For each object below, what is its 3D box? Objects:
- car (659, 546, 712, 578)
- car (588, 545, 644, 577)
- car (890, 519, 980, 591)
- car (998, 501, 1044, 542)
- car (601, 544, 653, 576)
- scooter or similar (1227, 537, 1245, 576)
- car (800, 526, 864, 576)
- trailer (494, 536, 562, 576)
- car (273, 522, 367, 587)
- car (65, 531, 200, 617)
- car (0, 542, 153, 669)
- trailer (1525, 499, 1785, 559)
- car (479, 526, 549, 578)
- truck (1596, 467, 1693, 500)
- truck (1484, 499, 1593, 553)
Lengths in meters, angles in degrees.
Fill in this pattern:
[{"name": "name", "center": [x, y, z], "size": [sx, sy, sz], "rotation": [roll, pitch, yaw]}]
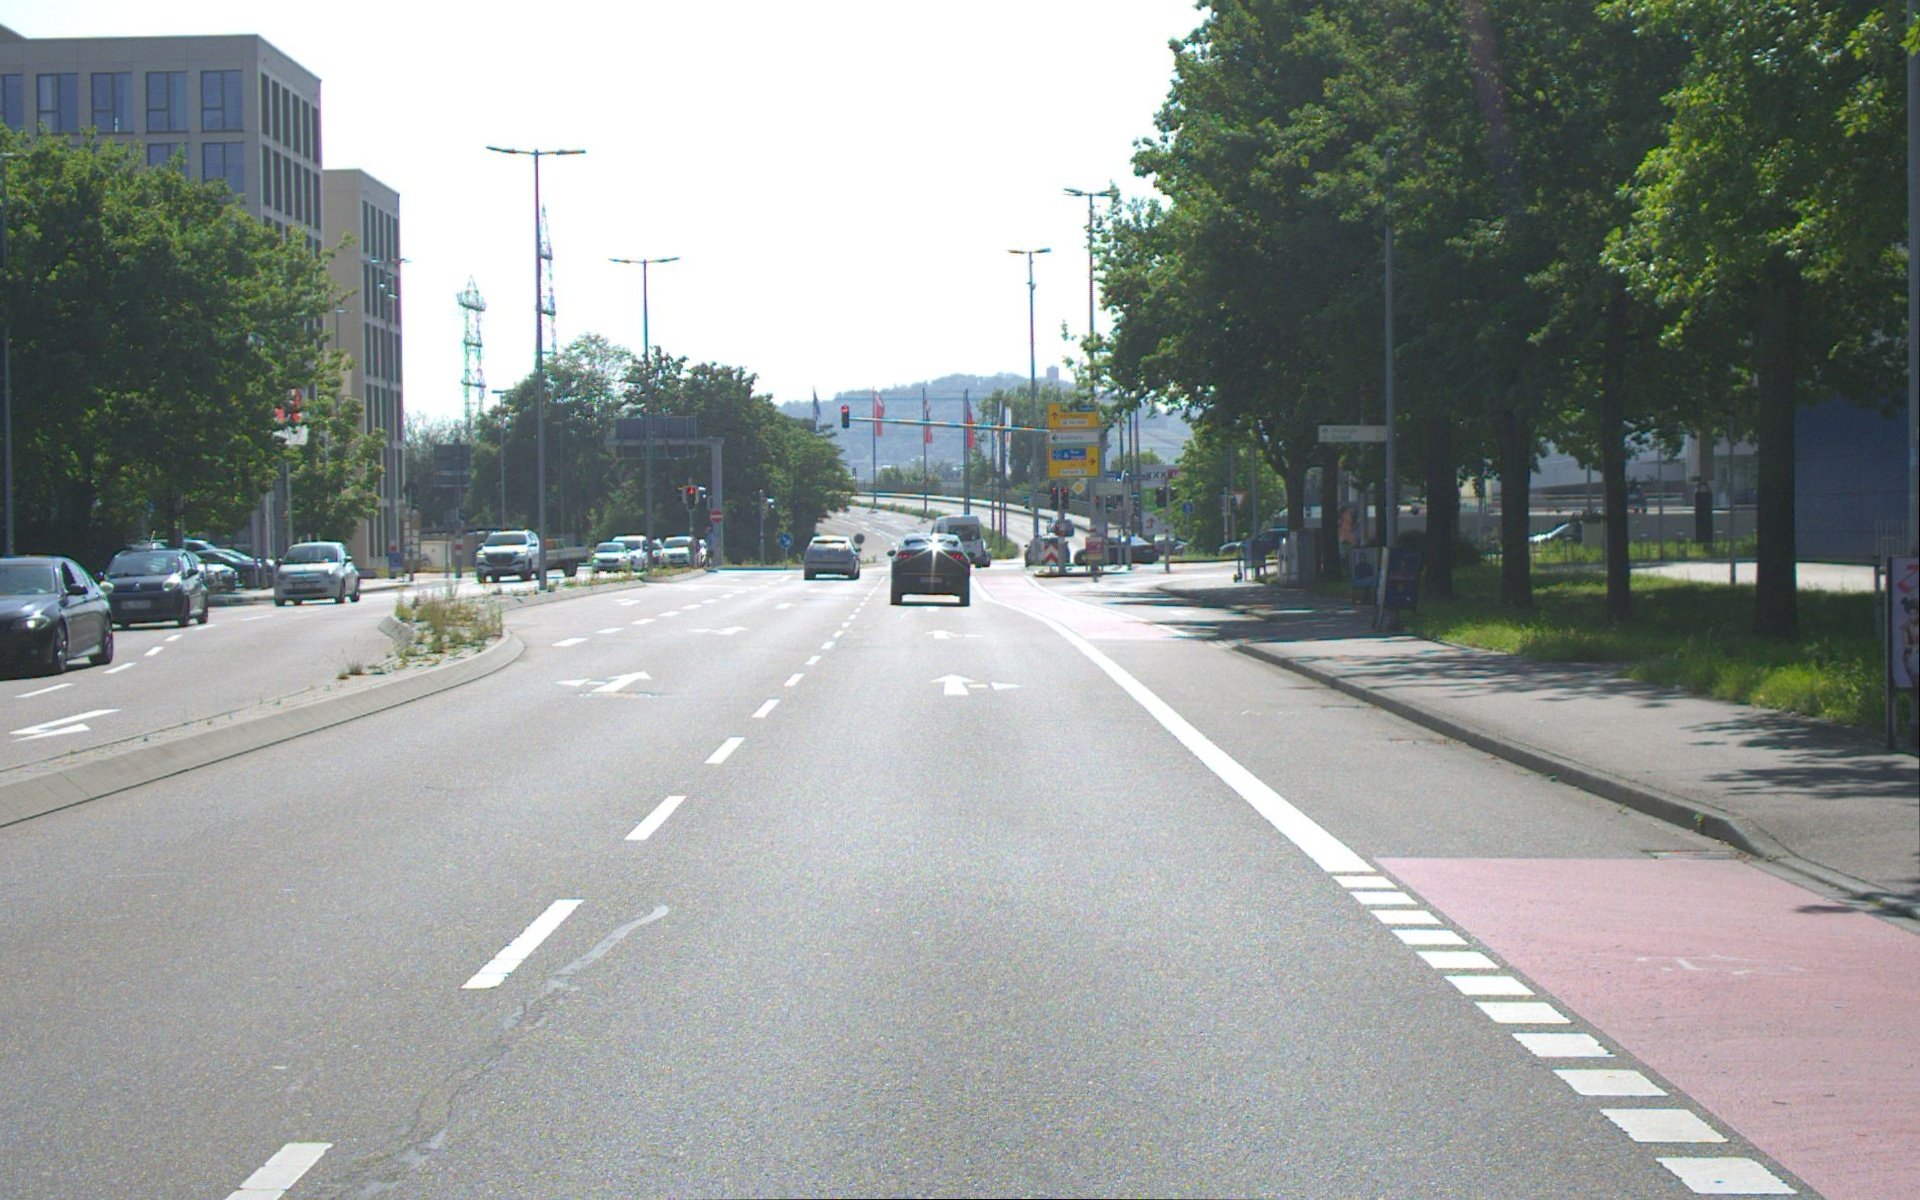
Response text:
[{"name": "car", "center": [-12.869, -1.792, 161.394], "size": [1.816, 1.459, 4.000], "rotation": [-1, 1, 5]}, {"name": "car", "center": [-16.034, -1.823, 160.388], "size": [1.892, 1.459, 4.000], "rotation": [-1, 1, 5]}, {"name": "car", "center": [-0.558, -1.081, 81.127], "size": [1.807, 1.634, 4.458], "rotation": [-1, 1, 3]}, {"name": "car", "center": [2.728, -3.548, 154.548], "size": [1.757, 1.752, 3.603], "rotation": [1, 2, -3]}, {"name": "car", "center": [-16.250, -1.959, 167.740], "size": [1.816, 1.459, 4.000], "rotation": [-1, 1, 5]}, {"name": "scooter or similar", "center": [8.760, -1.392, 109.105], "size": [0.351, 1.229, 1.310], "rotation": [-1, 1, 14]}, {"name": "car", "center": [-4.427, -1.726, 119.531], "size": [1.993, 1.678, 4.000], "rotation": [-1, 1, 1]}, {"name": "trailer", "center": [-16.303, -1.677, 129.843], "size": [1.993, 1.448, 5.773], "rotation": [-1, 1, -2]}, {"name": "car", "center": [-15.341, -1.101, 82.541], "size": [1.653, 1.459, 3.551], "rotation": [-2, 1, -2]}, {"name": "car", "center": [-14.909, -0.486, 62.120], "size": [1.783, 1.410, 4.001], "rotation": [-3, 1, -6]}, {"name": "car", "center": [-11.614, 0.055, 42.858], "size": [1.841, 1.458, 5.000], "rotation": [-3, 1, 0]}, {"name": "trailer", "center": [32.916, -3.384, 163.129], "size": [11.872, 2.460, 2.000], "rotation": [2, 2, 3]}, {"name": "car", "center": [-16.125, -1.750, 124.500], "size": [1.993, 1.826, 4.938], "rotation": [-1, 1, -2]}, {"name": "truck", "center": [44.664, -7.623, 224.365], "size": [5.910, 2.006, 2.000], "rotation": [2, 2, 3]}, {"name": "truck", "center": [27.476, -3.510, 163.411], "size": [4.881, 2.415, 2.000], "rotation": [2, 2, 4]}]
